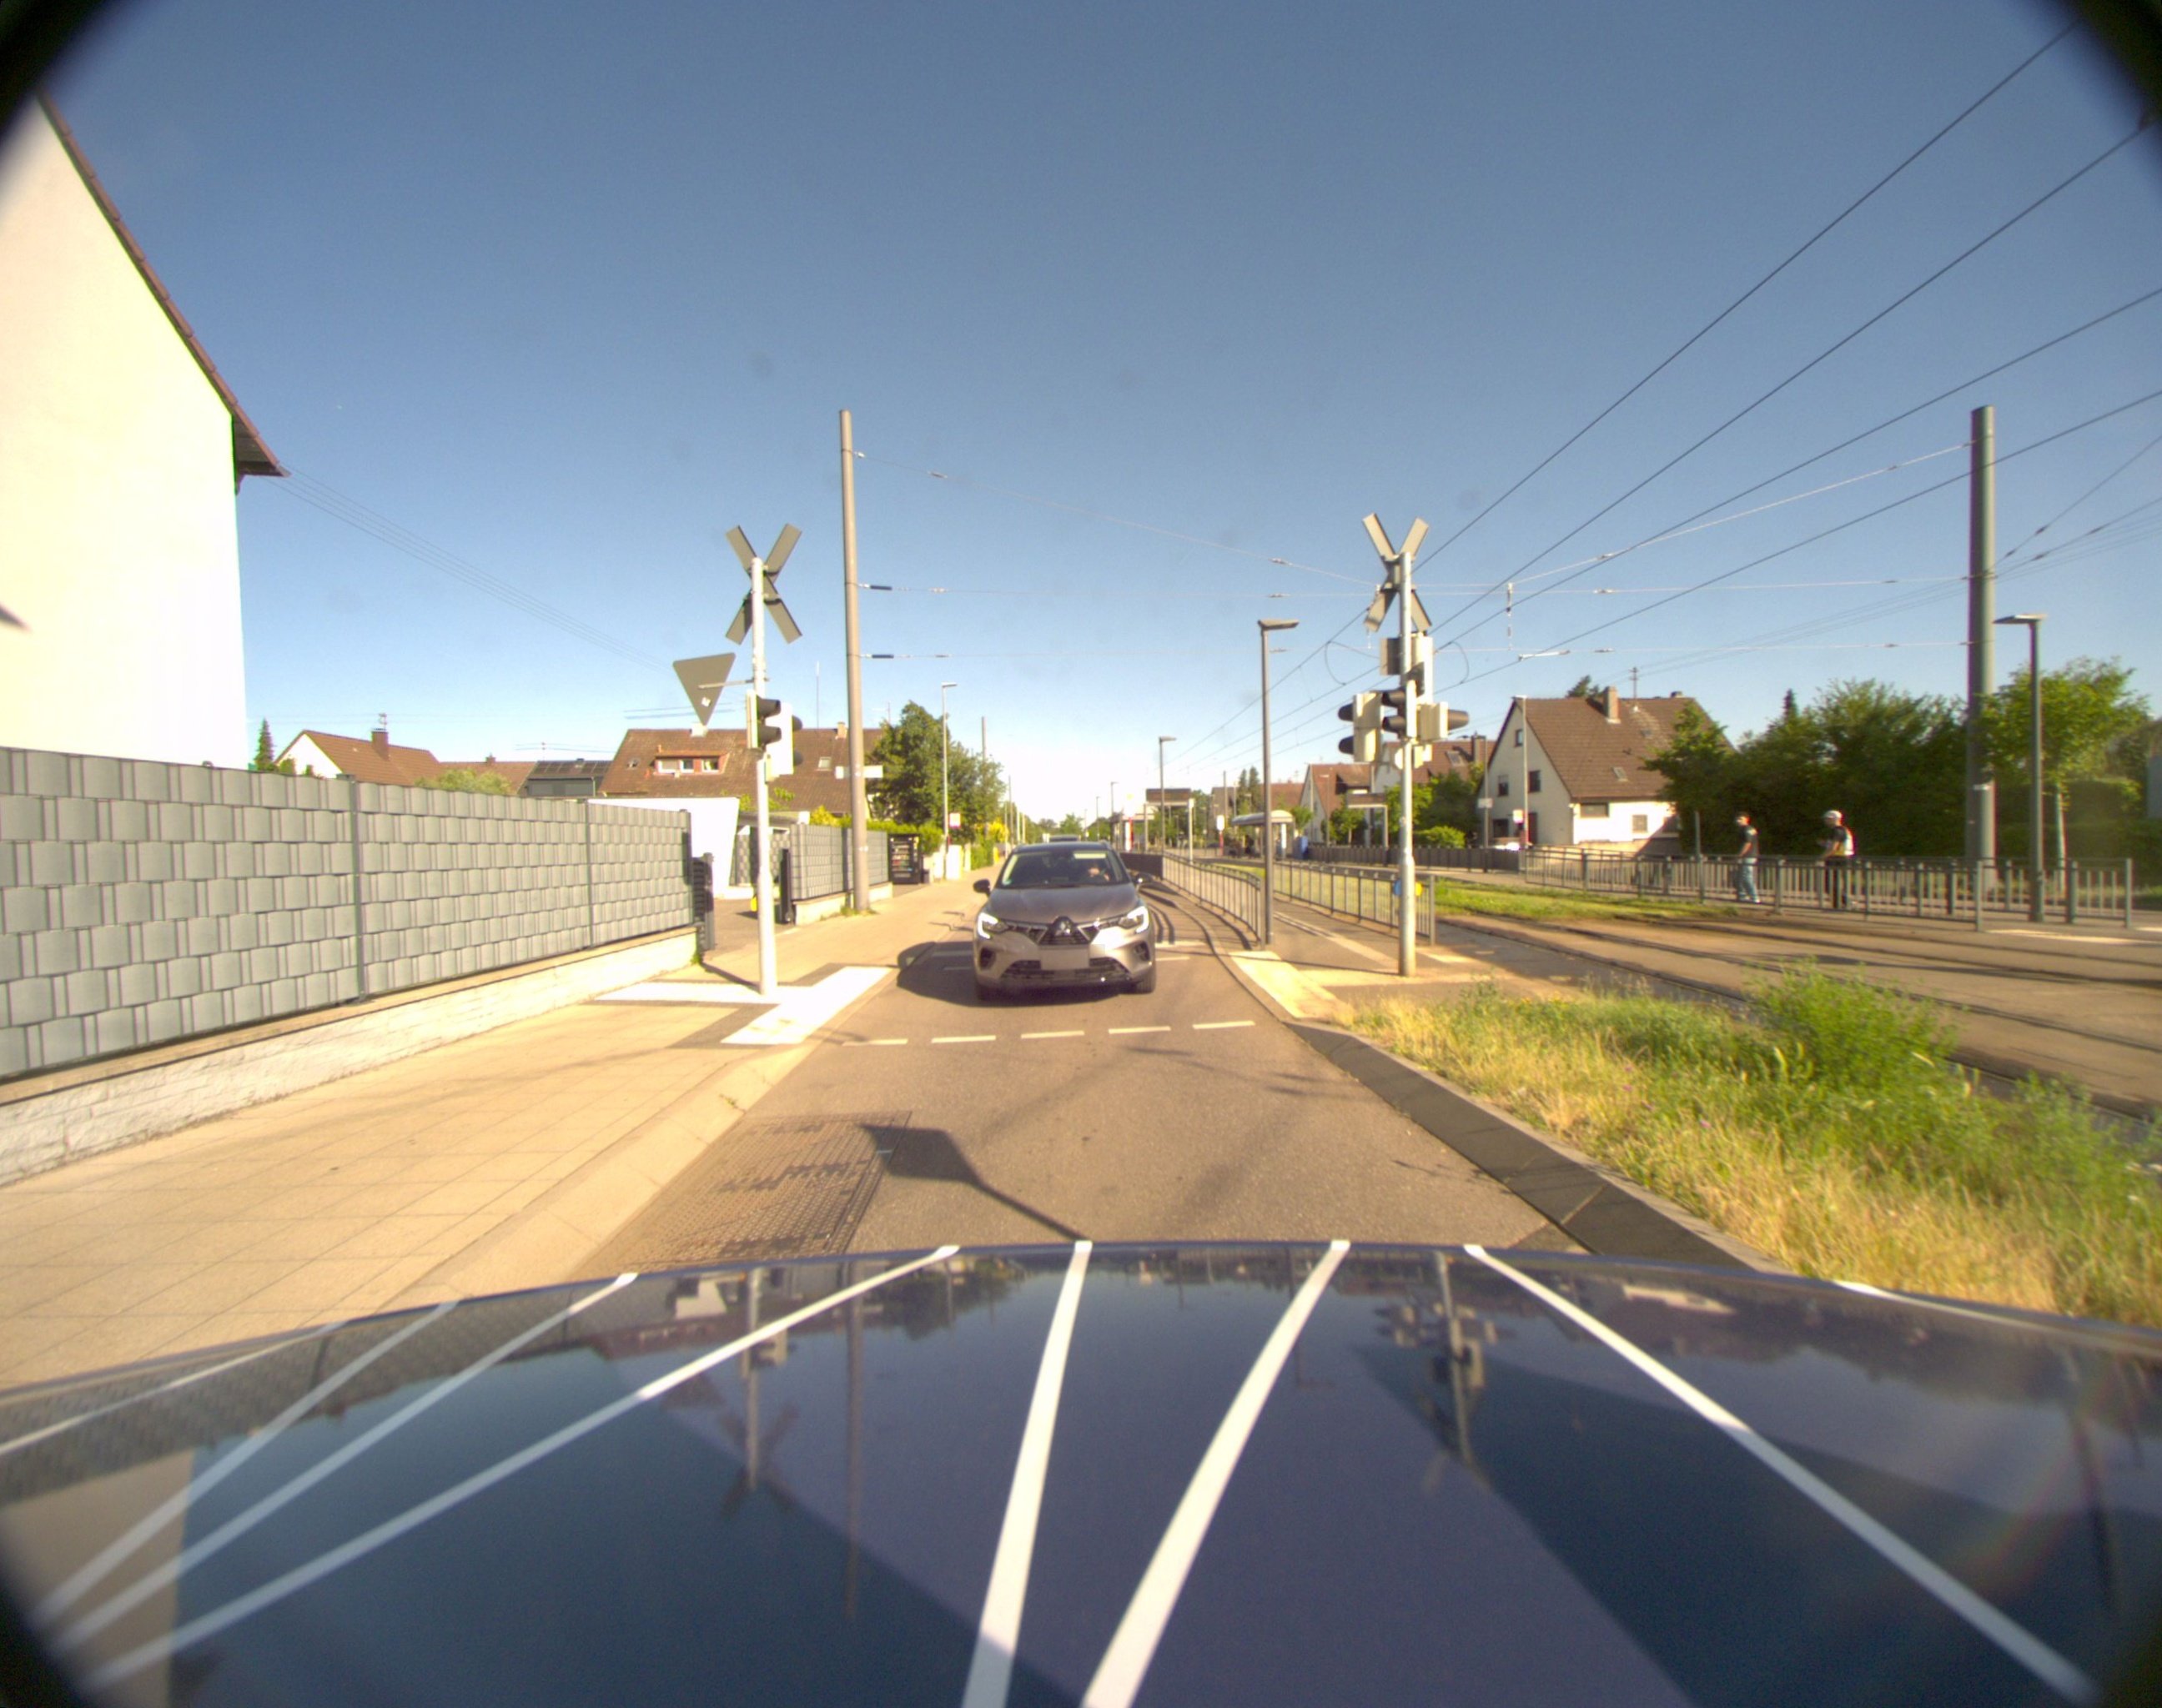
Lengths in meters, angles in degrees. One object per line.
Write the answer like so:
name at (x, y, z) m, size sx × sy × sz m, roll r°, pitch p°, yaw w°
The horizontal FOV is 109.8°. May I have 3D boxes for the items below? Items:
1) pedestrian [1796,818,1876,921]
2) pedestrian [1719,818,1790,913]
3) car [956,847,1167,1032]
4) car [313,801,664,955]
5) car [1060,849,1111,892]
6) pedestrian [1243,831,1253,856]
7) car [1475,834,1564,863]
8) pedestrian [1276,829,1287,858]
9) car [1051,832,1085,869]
pedestrian at (12.853, 0.236, 12.944) m, size 0.797 × 1.652 × 0.726 m, roll -5°, pitch 4°, yaw -26°
pedestrian at (13.001, 0.200, 14.679) m, size 0.690 × 1.761 × 0.823 m, roll -5°, pitch 4°, yaw -26°
car at (-0.280, 0.744, 8.822) m, size 1.830 × 1.570 × 3.998 m, roll -2°, pitch 1°, yaw -3°
car at (-10.305, 0.375, 13.377) m, size 4.984 × 2.418 × 2.001 m, roll -1°, pitch 3°, yaw 12°
car at (0.142, 0.536, 27.925) m, size 1.687 × 1.379 × 3.999 m, roll -2°, pitch 1°, yaw 0°
pedestrian at (11.813, -0.711, 53.662) m, size 0.535 × 1.742 × 0.543 m, roll -1°, pitch 1°, yaw -2°
car at (25.065, -0.342, 43.548) m, size 3.990 × 1.526 × 1.999 m, roll -1°, pitch 1°, yaw -4°
pedestrian at (12.278, -0.645, 46.489) m, size 0.622 × 1.742 × 0.442 m, roll -1°, pitch 1°, yaw 18°
car at (-0.840, -0.254, 50.186) m, size 2.090 × 2.226 × 4.721 m, roll -2°, pitch 1°, yaw 0°
